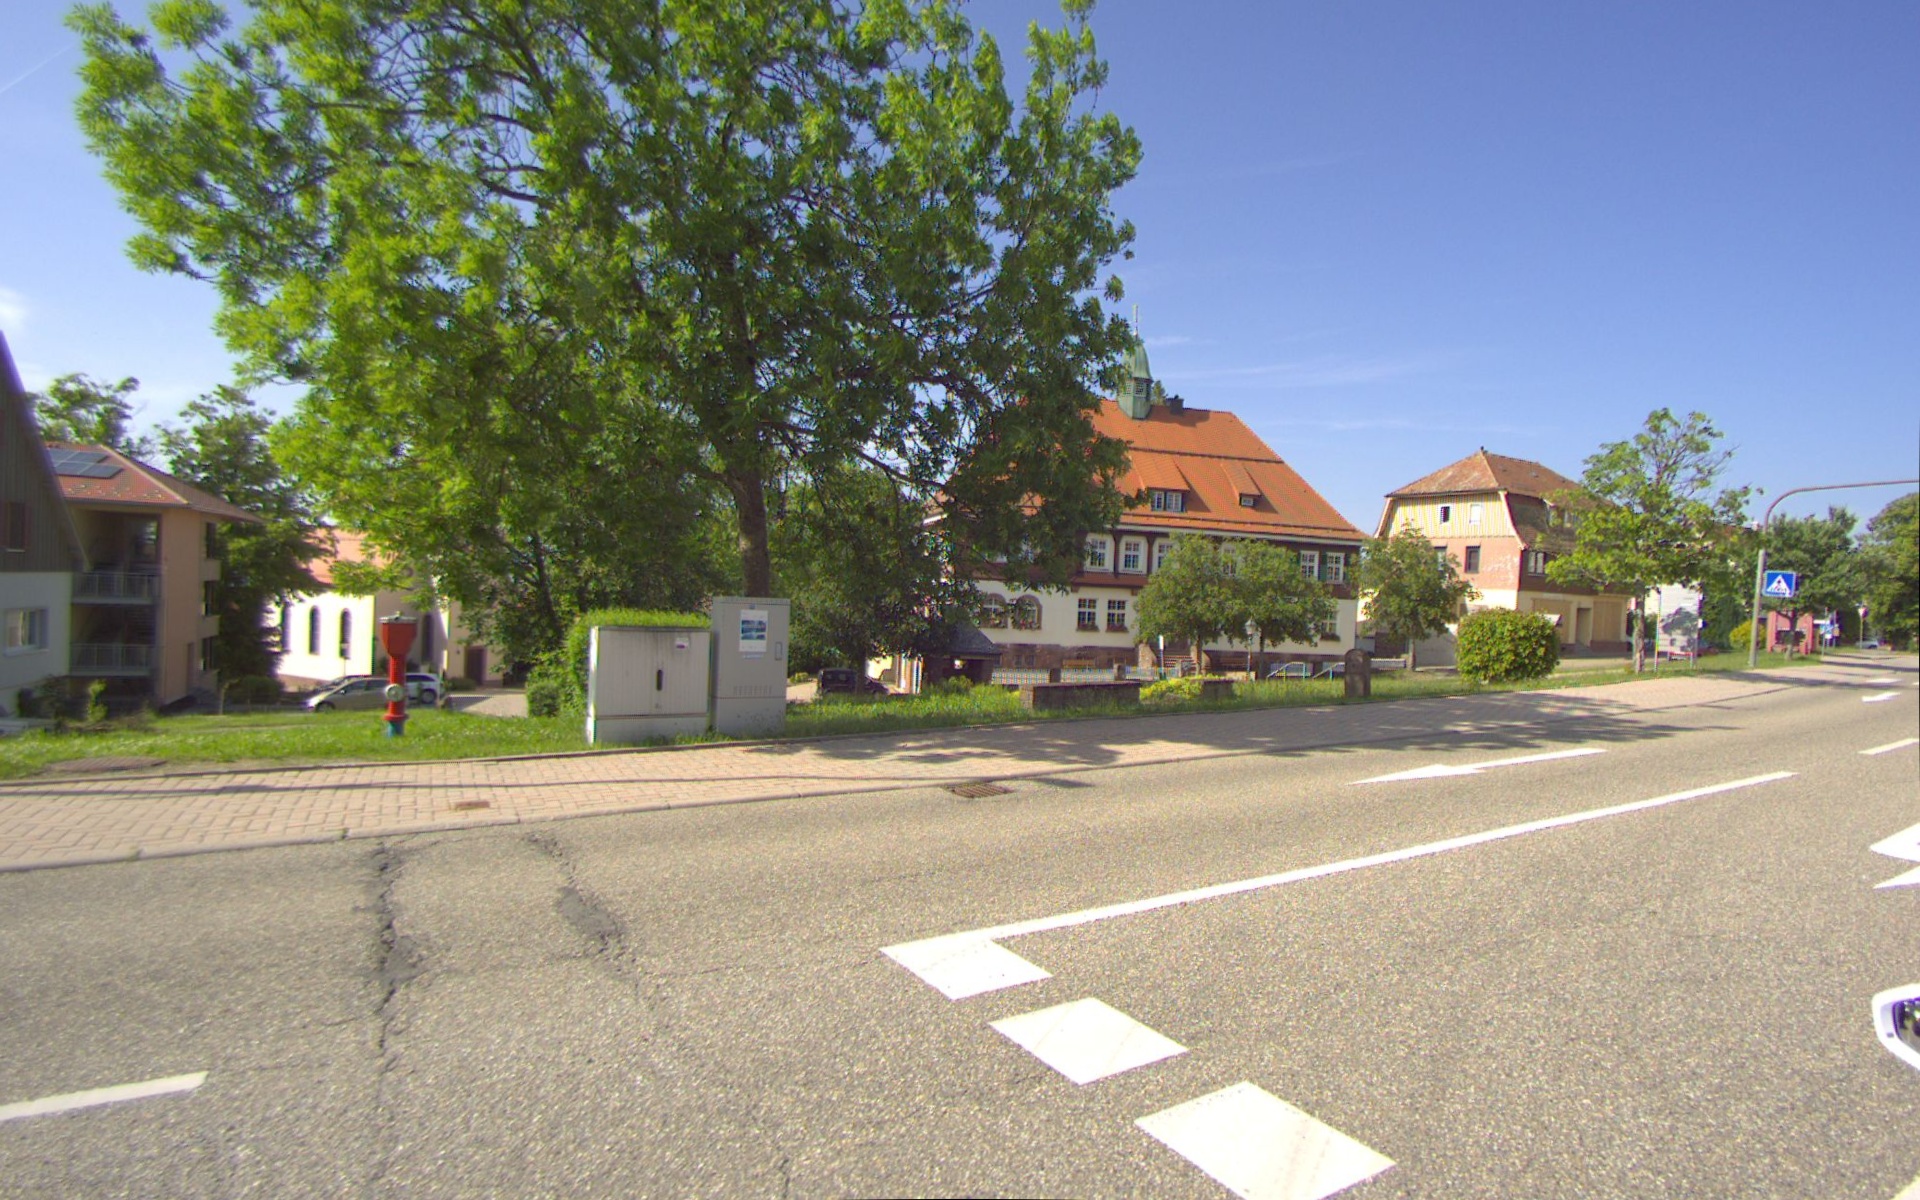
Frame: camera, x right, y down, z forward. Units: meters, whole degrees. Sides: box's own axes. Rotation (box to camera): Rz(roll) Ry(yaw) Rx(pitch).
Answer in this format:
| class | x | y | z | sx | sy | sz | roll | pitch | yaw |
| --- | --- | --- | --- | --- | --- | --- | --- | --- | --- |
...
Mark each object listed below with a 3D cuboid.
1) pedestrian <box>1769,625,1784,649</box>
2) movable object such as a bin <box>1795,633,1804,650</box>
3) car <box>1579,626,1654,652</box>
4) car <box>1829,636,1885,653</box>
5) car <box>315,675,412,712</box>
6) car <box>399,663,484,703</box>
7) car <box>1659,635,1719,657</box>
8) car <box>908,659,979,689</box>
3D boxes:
| class | x | y | z | sx | sy | sz | roll | pitch | yaw |
| --- | --- | --- | --- | --- | --- | --- | --- | --- | --- |
| pedestrian | 43.060 | 1.936 | 52.974 | 0.622 | 1.269 | 0.421 | 0 | -2 | 42 |
| movable object such as a bin | 42.181 | 2.105 | 50.471 | 0.301 | 0.848 | 0.483 | 1 | -1 | 42 |
| car | 48.910 | 2.895 | 74.908 | 1.782 | 1.531 | 4.273 | 4 | 0 | -35 |
| car | 88.553 | 4.359 | 99.192 | 1.799 | 1.472 | 3.738 | 8 | -5 | -32 |
| car | -26.071 | 4.076 | 43.960 | 3.582 | 1.372 | 1.464 | 0 | -2 | -32 |
| car | -28.491 | 4.513 | 55.264 | 3.958 | 2.040 | 1.982 | 2 | -3 | -34 |
| car | 46.451 | 2.934 | 63.970 | 3.954 | 1.314 | 1.712 | 2 | -1 | -31 |
| car | -0.897 | 3.904 | 52.887 | 3.445 | 1.486 | 1.573 | 1 | -1 | -17 |
